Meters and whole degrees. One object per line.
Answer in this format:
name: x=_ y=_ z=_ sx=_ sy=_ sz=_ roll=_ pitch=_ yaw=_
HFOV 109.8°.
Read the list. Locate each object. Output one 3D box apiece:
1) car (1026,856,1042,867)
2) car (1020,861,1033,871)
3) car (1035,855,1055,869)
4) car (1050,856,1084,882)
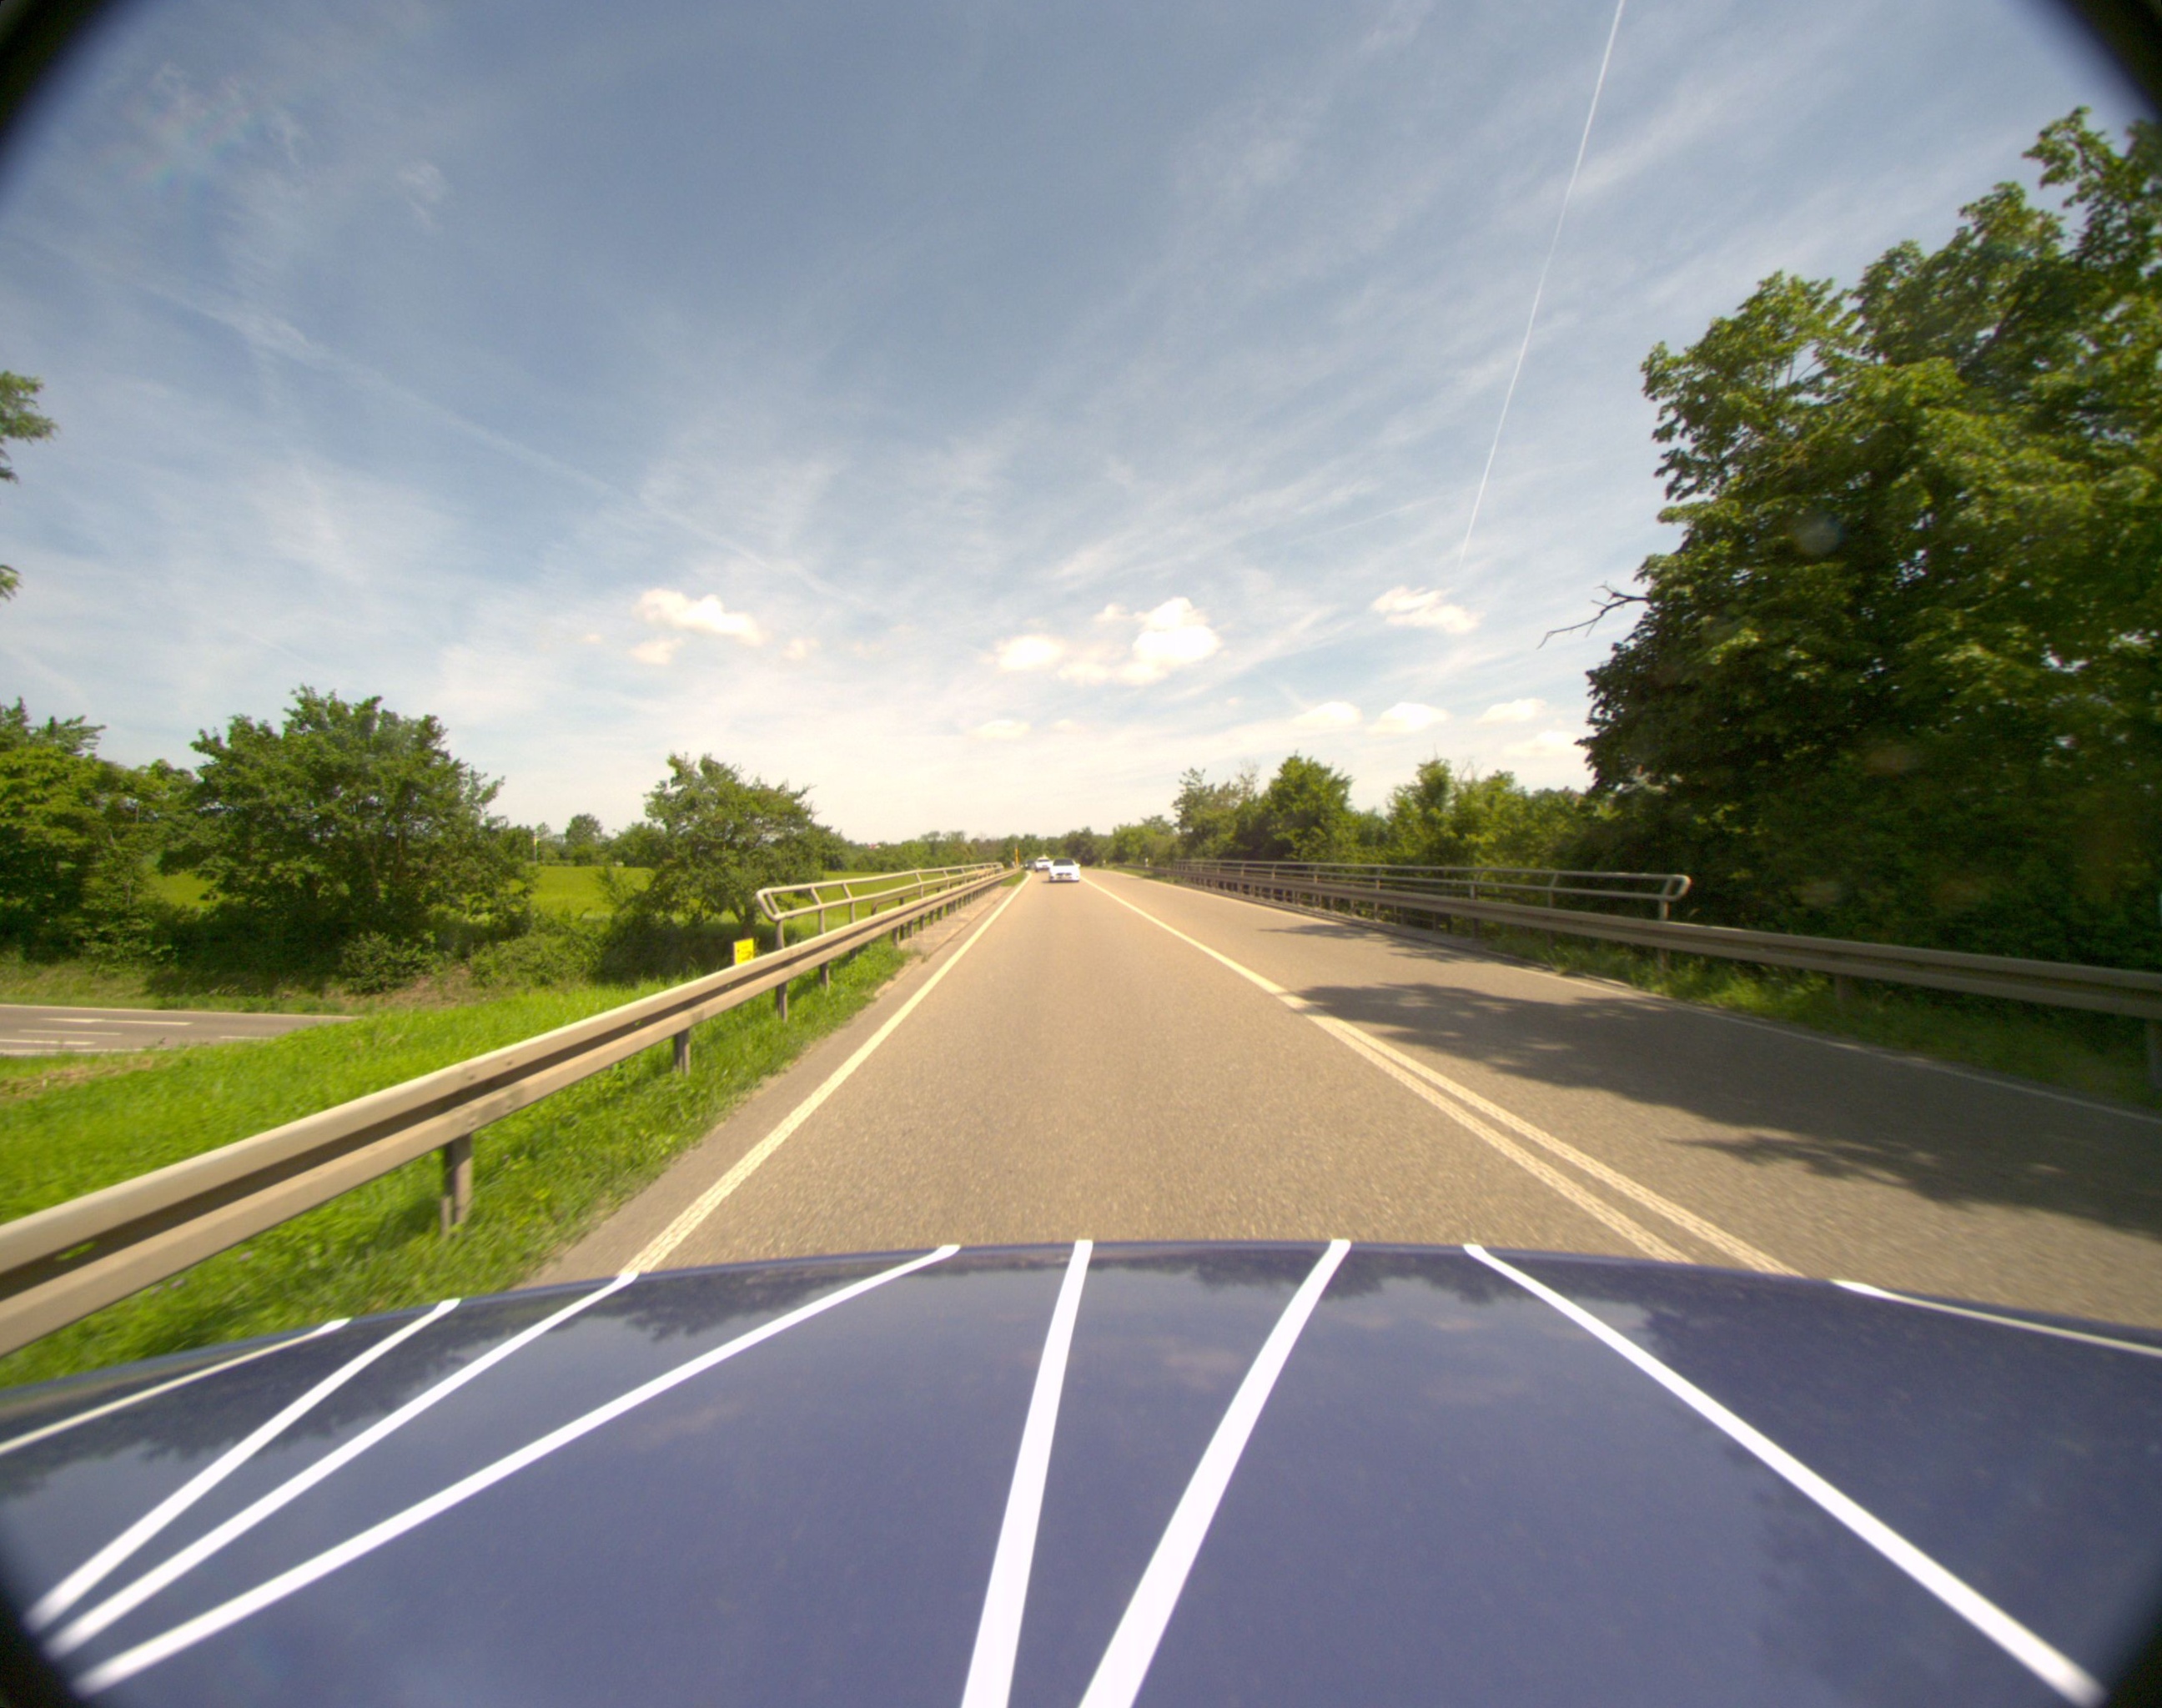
car: x=-6.455 y=1.023 z=103.767 sx=1.930 sy=1.441 sz=4.074 roll=-1 pitch=0 yaw=-7
car: x=-8.898 y=1.951 z=123.020 sx=1.930 sy=1.441 sz=3.997 roll=-1 pitch=0 yaw=-6
car: x=-3.871 y=0.842 z=81.056 sx=1.930 sy=1.441 sz=3.997 roll=-1 pitch=0 yaw=-6
car: x=-0.896 y=0.892 z=47.248 sx=1.930 sy=1.441 sz=4.533 roll=-1 pitch=0 yaw=-3
